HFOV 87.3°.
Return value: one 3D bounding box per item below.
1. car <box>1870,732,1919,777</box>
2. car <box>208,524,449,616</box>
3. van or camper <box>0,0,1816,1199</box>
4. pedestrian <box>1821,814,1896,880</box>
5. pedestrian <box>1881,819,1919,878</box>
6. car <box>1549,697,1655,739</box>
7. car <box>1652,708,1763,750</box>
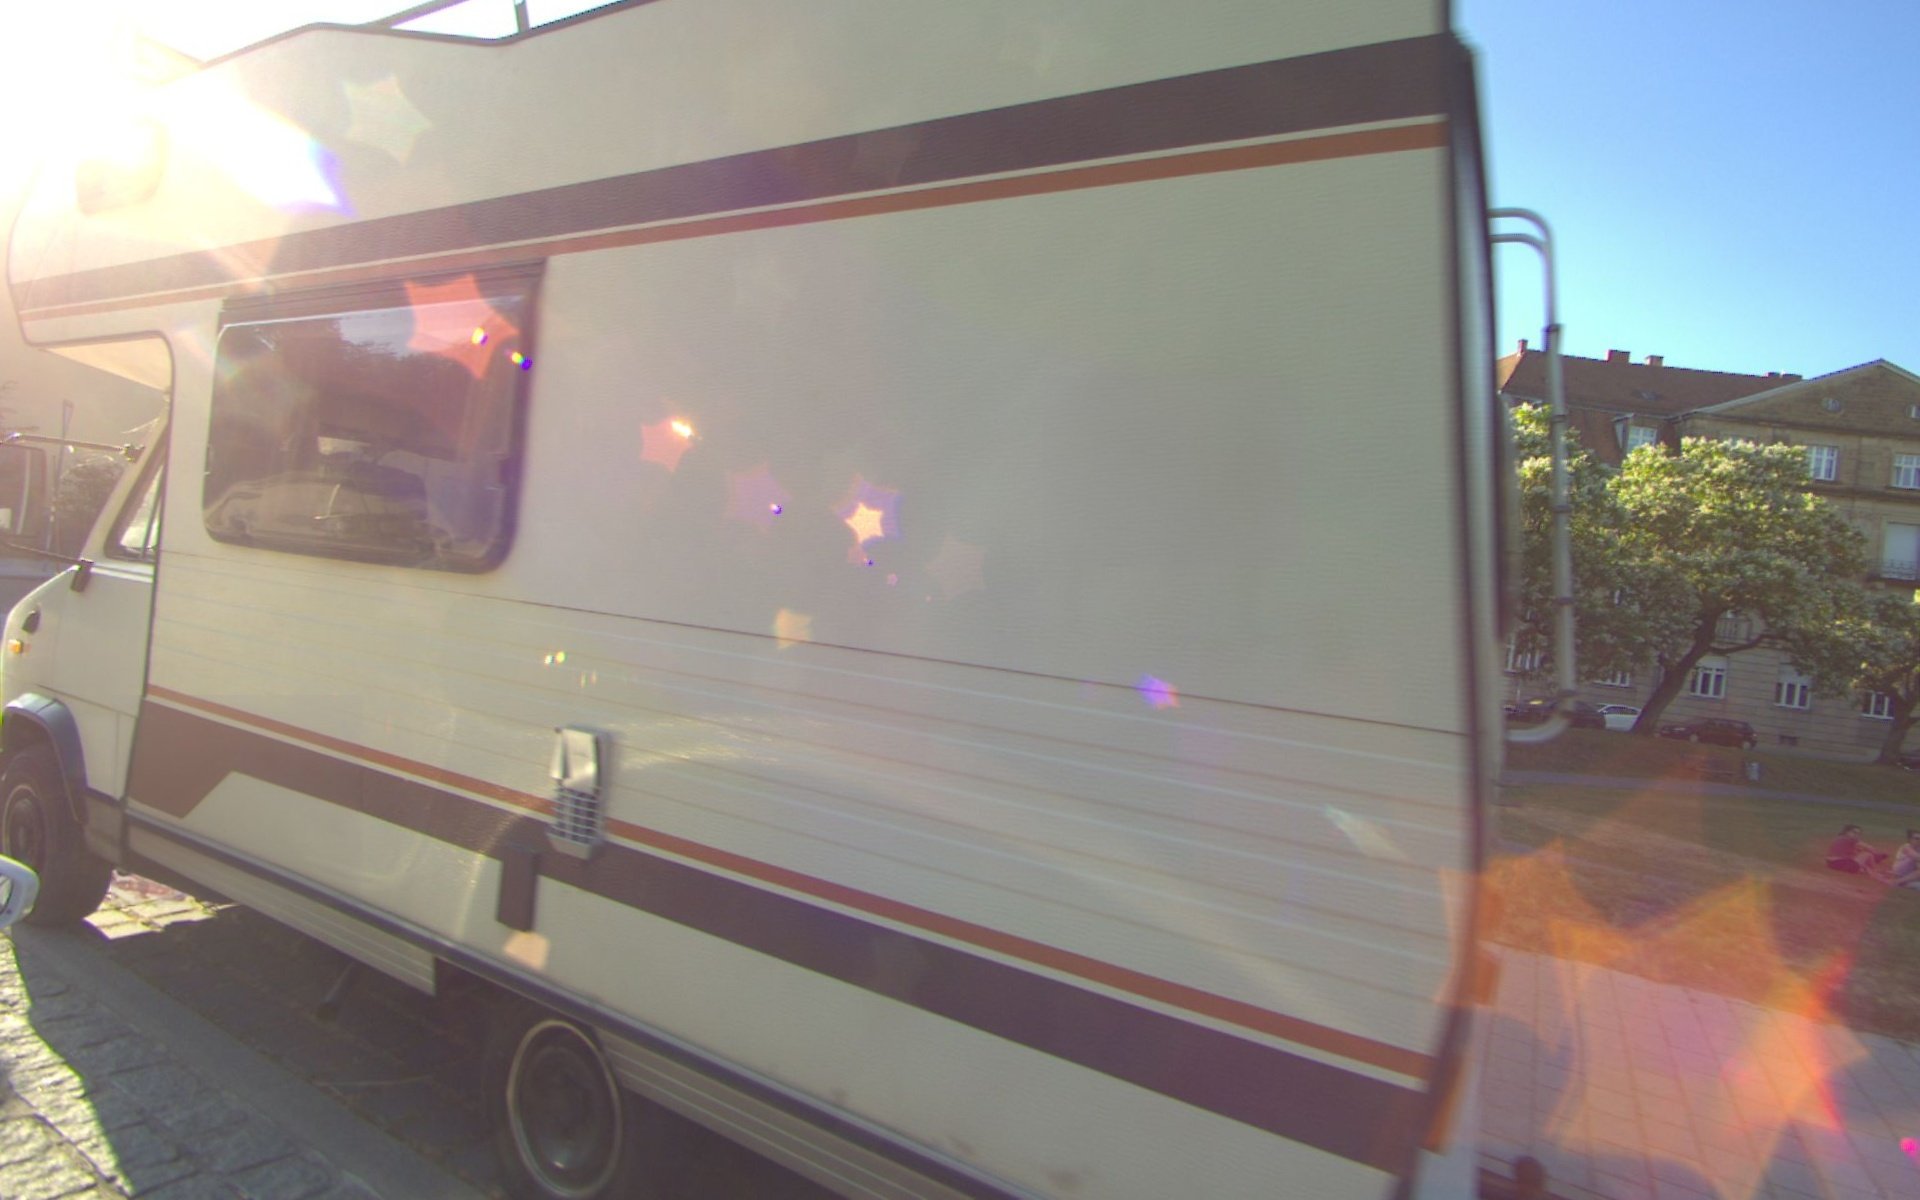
[{"bbox_3d":[43.072,7.010,44.297,3.925,1.725,2.002,8,-2,3],"label":"car"},{"bbox_3d":[-14.459,-0.634,23.254,1.968,1.549,4.198,6,-1,34],"label":"car"},{"bbox_3d":[-1.050,-0.120,3.394,5.577,2.939,2.238,5,-1,30],"label":"van or camper"},{"bbox_3d":[14.241,3.910,15.963,0.712,0.822,0.612,7,-1,32],"label":"pedestrian"},{"bbox_3d":[15.397,4.039,16.261,0.602,0.822,0.473,7,-1,32],"label":"pedestrian"},{"bbox_3d":[31.855,5.852,49.987,3.926,1.470,1.881,7,-1,-1],"label":"car"},{"bbox_3d":[37.226,6.410,50.156,3.924,1.470,1.882,7,-1,4],"label":"car"}]
